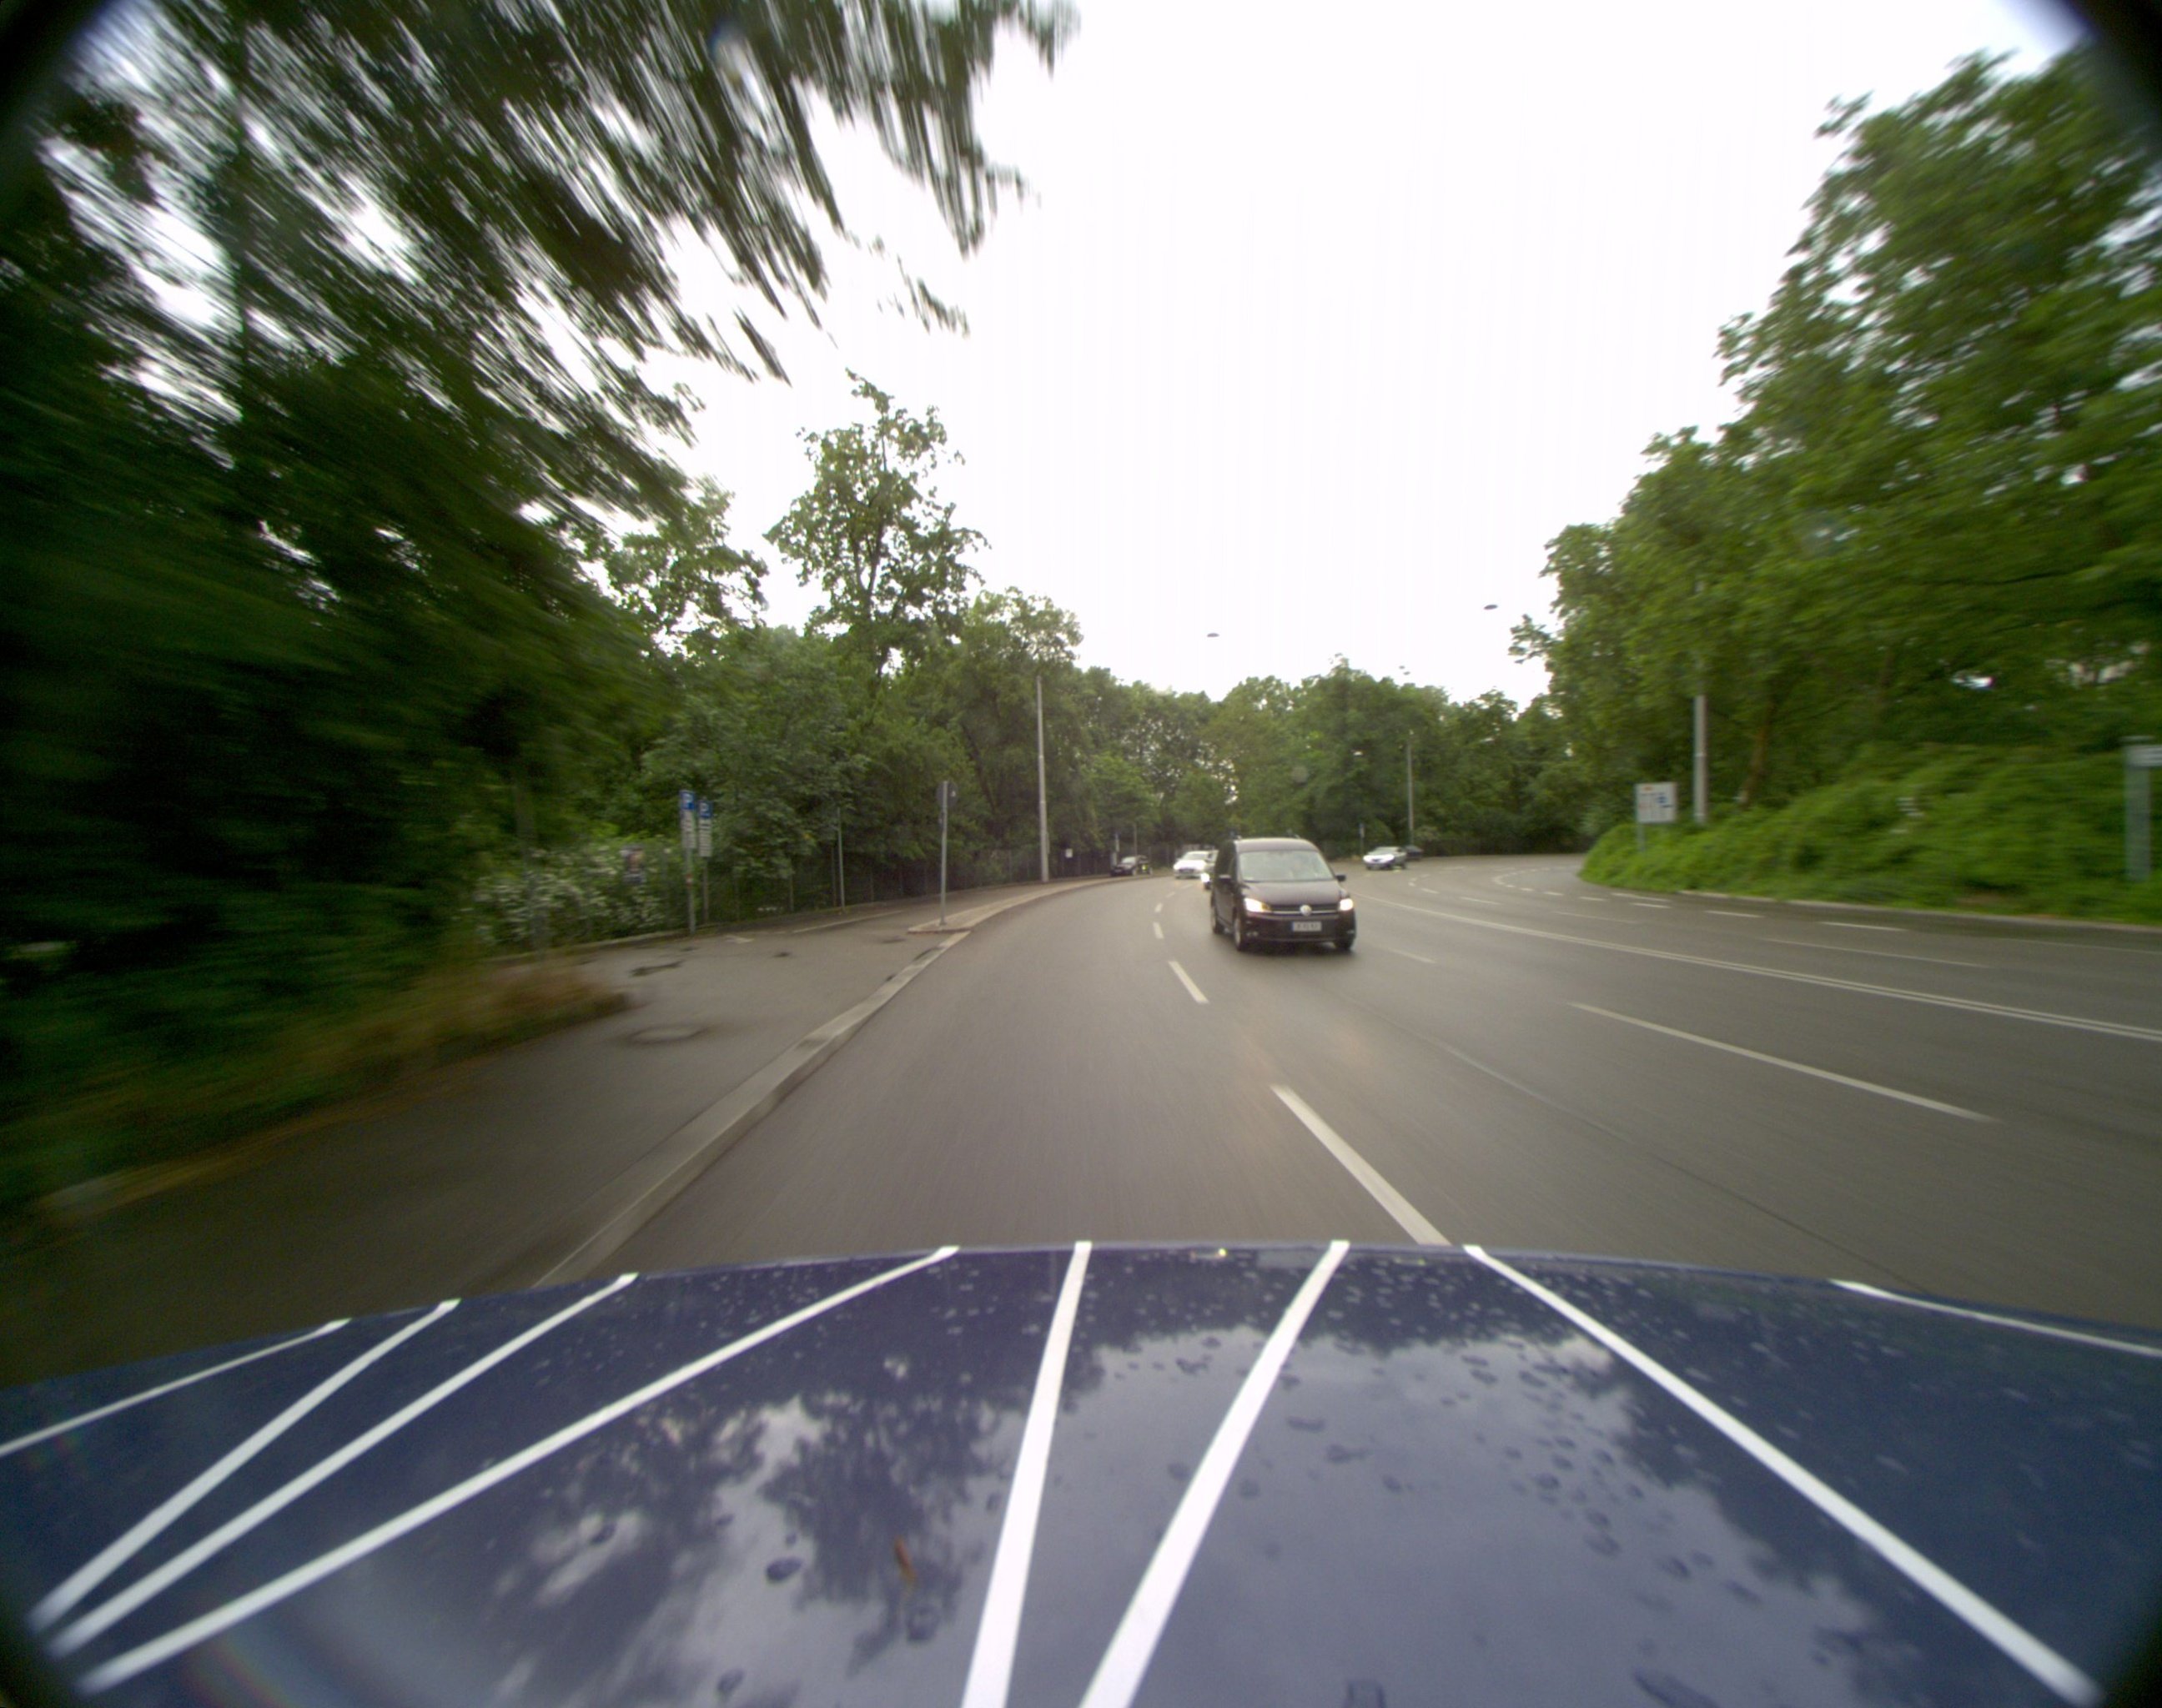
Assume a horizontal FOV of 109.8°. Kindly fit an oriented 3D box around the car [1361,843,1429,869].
[{"bbox_3d":[22.330,0.118,53.961,4.662,1.735,1.995,-2,1,-30],"label":"car"}]

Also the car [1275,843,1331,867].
[{"bbox_3d":[17.323,0.039,59.191,4.006,1.735,1.995,-2,1,-31],"label":"car"}]

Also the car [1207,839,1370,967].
[{"bbox_3d":[3.277,0.671,12.810,1.795,1.789,4.125,-1,1,3],"label":"car"}]

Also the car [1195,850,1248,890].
[{"bbox_3d":[5.904,0.619,31.638,1.928,1.532,4.004,-2,0,13],"label":"car"}]

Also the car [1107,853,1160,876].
[{"bbox_3d":[3.691,0.737,52.925,1.874,1.368,4.182,-6,-2,32],"label":"car"}]

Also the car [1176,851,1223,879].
[{"bbox_3d":[6.704,0.600,42.626,1.792,1.444,4.005,-1,1,20],"label":"car"}]
